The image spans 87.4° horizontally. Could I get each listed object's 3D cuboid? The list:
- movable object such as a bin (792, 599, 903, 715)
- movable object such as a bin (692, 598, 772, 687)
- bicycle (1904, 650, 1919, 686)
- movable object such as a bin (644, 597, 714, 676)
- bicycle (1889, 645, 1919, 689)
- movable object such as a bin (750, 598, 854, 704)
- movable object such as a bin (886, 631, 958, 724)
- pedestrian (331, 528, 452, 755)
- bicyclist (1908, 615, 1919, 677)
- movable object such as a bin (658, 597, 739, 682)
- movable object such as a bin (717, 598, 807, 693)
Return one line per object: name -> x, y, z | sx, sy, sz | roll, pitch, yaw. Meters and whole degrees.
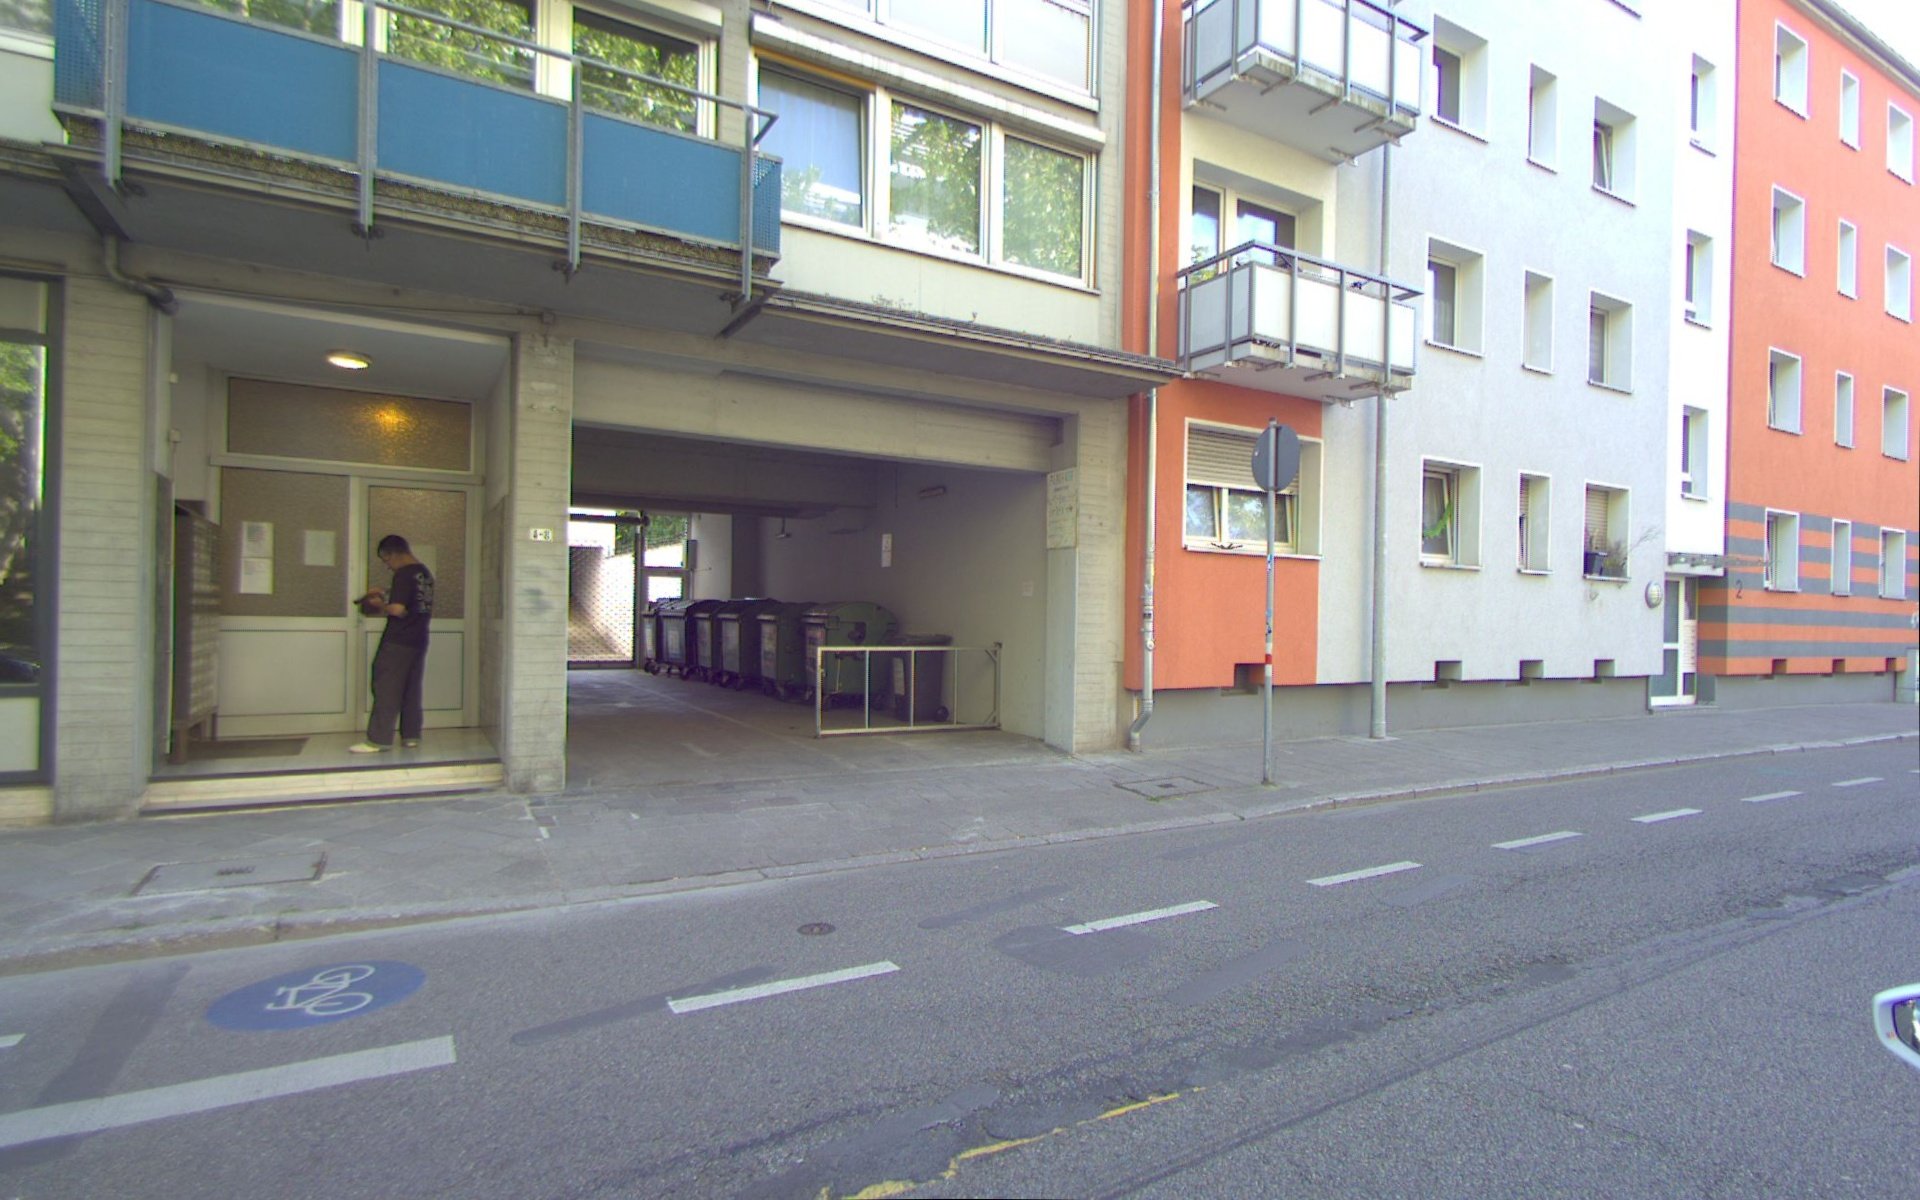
movable object such as a bin -> -1.558, 0.745, 13.779 | 1.086, 1.503, 1.251 | 1, 0, -30
movable object such as a bin -> -4.014, 0.728, 17.645 | 1.080, 1.503, 1.159 | 1, 0, -30
bicycle -> 26.282, 1.838, 26.593 | 0.682, 0.941, 1.861 | 1, -1, -6
movable object such as a bin -> -5.589, 0.715, 19.976 | 1.167, 1.503, 0.819 | 1, 0, -30
bicycle -> 25.089, 1.733, 25.745 | 0.849, 1.093, 1.836 | 1, -1, -2
movable object such as a bin -> -2.394, 0.737, 15.154 | 1.167, 1.503, 1.252 | 1, 0, -30
movable object such as a bin -> -0.474, 0.947, 12.468 | 0.687, 1.094, 0.579 | 1, 0, -30
pedestrian -> -4.540, 0.321, 8.054 | 0.537, 1.736, 0.662 | 1, 0, 3
bicyclist -> 25.101, 1.193, 25.716 | 0.828, 1.575, 0.839 | 1, 0, -3
movable object such as a bin -> -4.876, 0.716, 18.691 | 1.167, 1.503, 1.215 | 1, 0, -30
movable object such as a bin -> -3.286, 0.730, 16.643 | 1.167, 1.503, 1.073 | 1, 0, -30
